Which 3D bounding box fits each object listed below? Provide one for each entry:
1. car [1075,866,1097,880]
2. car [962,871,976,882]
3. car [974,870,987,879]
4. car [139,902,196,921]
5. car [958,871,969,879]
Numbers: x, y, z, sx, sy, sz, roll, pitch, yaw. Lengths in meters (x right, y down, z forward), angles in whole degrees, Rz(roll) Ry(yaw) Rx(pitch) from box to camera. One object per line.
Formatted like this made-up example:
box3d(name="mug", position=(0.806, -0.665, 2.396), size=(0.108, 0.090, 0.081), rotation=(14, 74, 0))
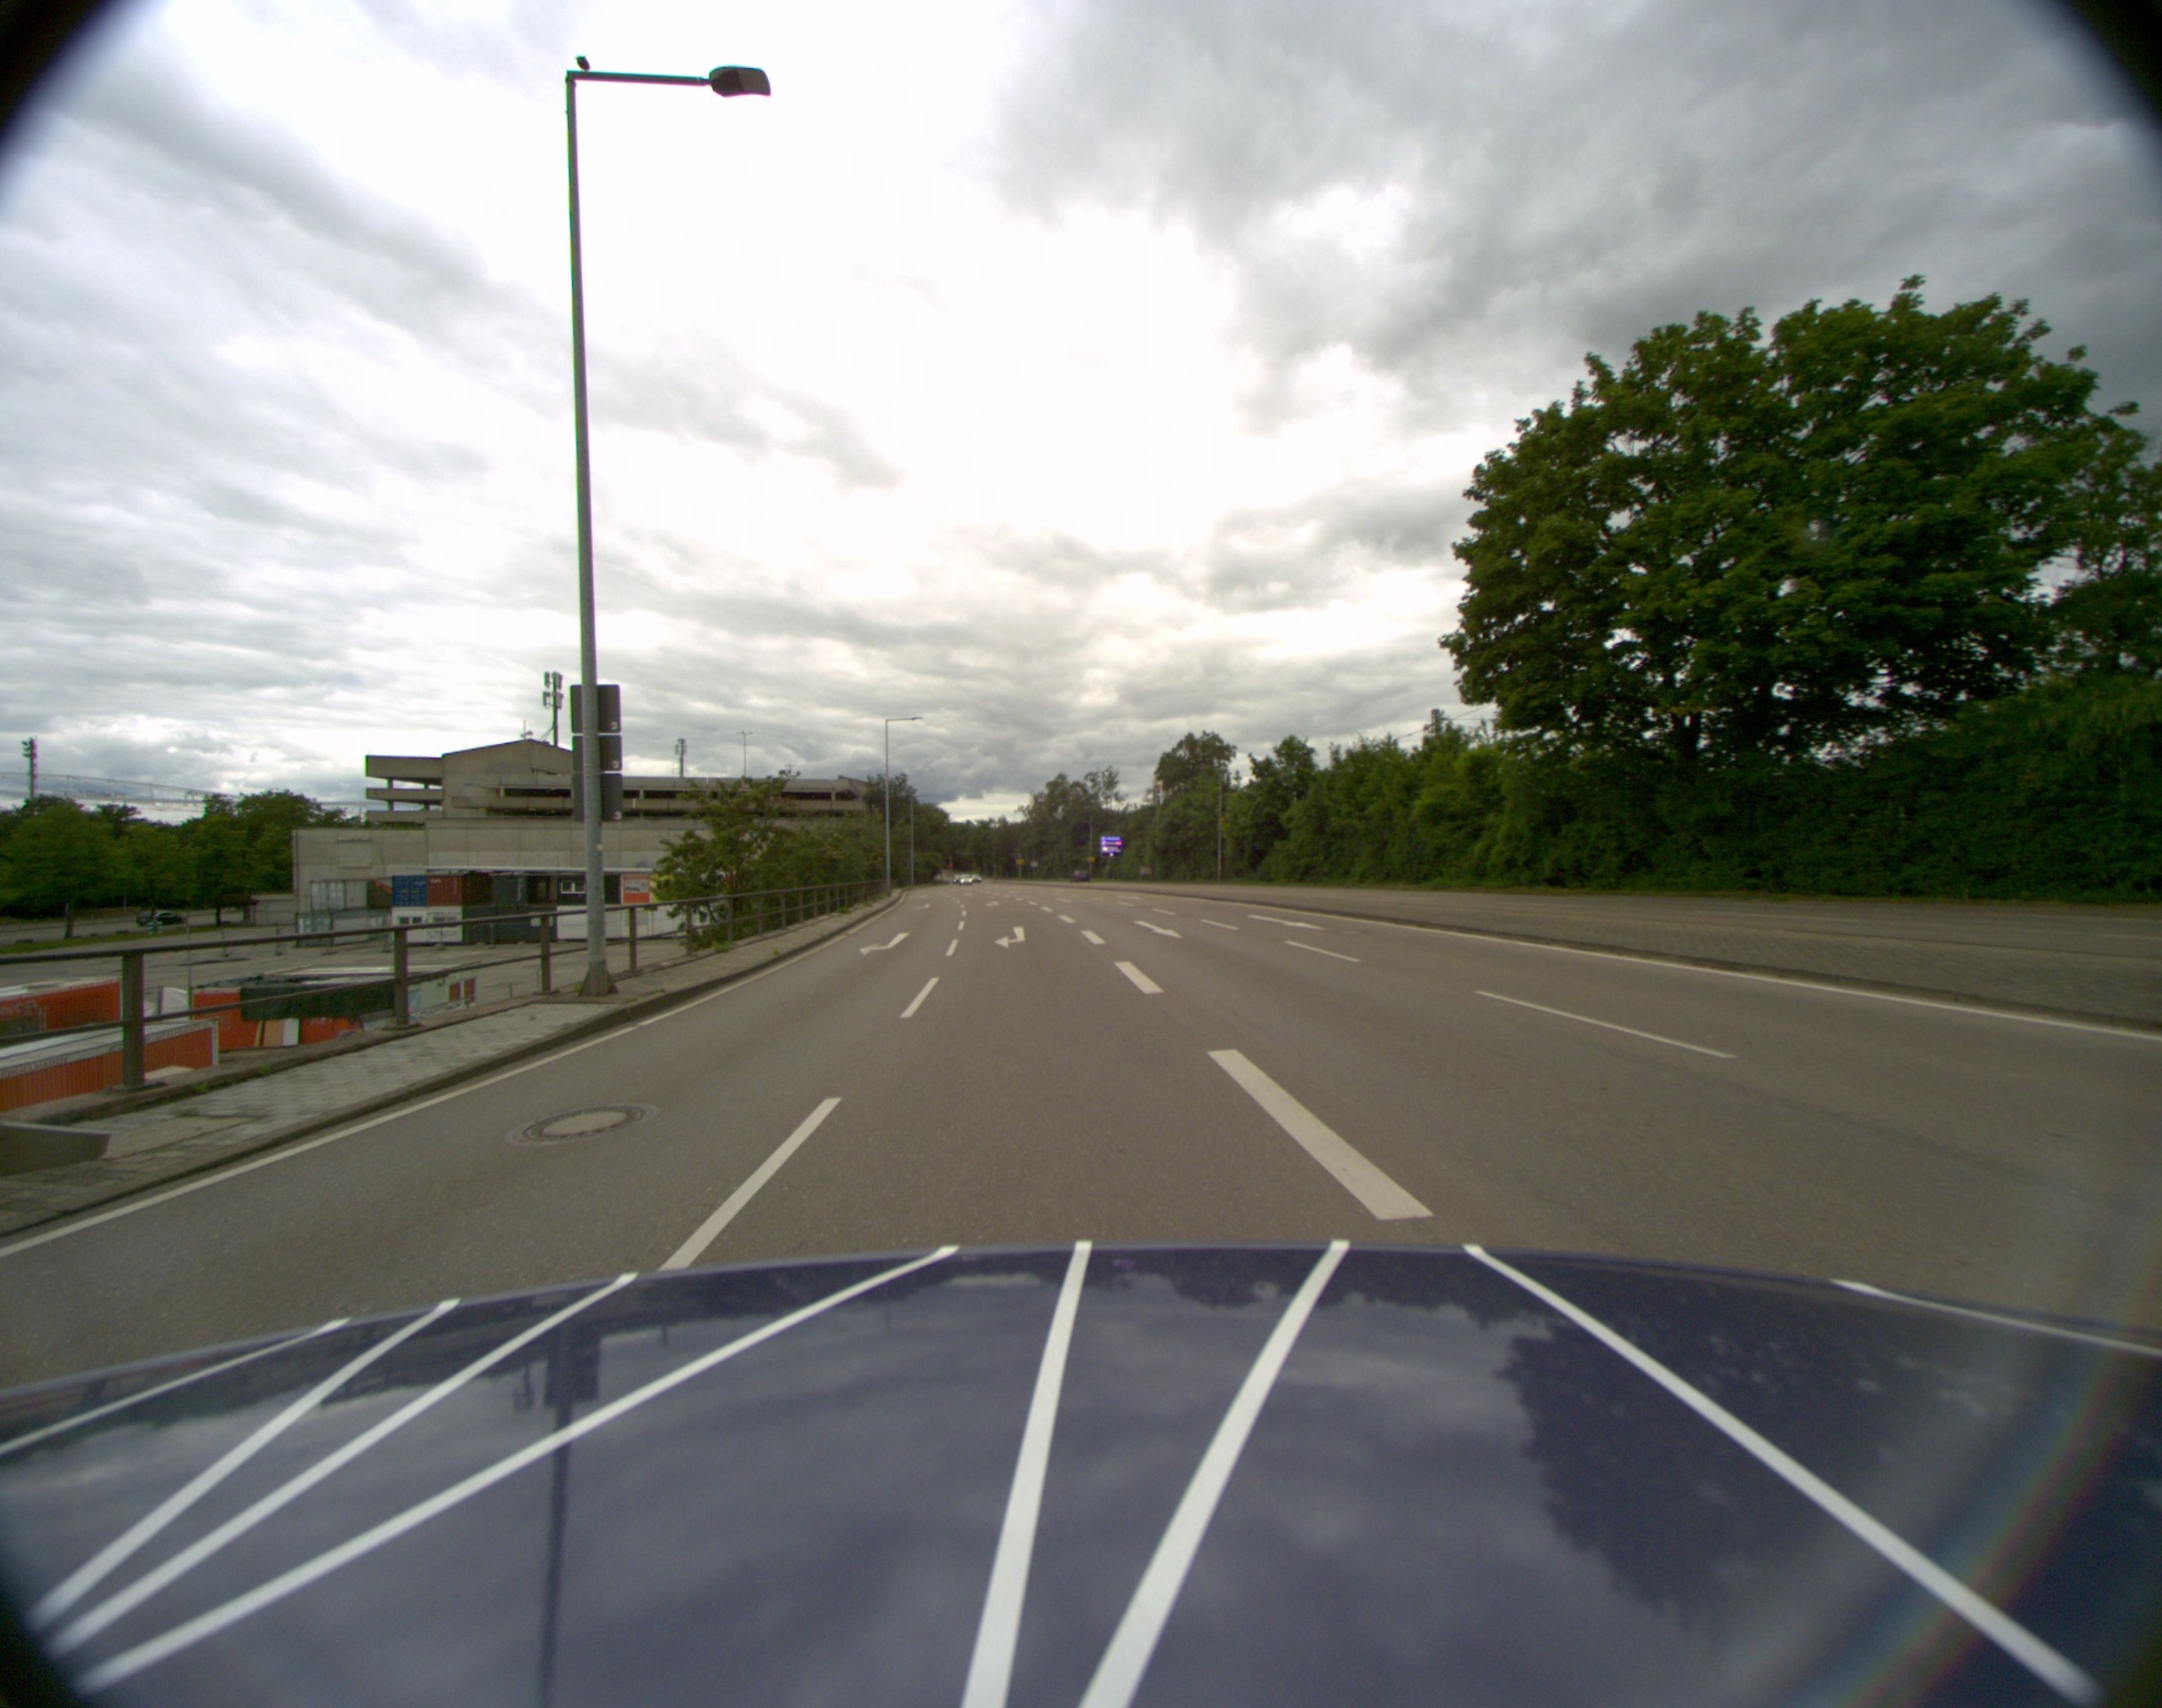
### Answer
box3d(name="car", position=(0.572, 2.142, 86.404), size=(1.704, 1.455, 3.997), rotation=(-3, 0, -11))
box3d(name="car", position=(-15.548, 3.156, 105.515), size=(1.611, 1.408, 3.588), rotation=(-2, -1, -12))
box3d(name="car", position=(-17.729, 3.634, 134.411), size=(1.844, 1.408, 4.576), rotation=(-2, -1, -13))
box3d(name="car", position=(-104.480, 6.566, 86.972), size=(2.000, 1.805, 3.996), rotation=(-5, 1, -12))
box3d(name="car", position=(-21.224, 3.756, 136.854), size=(1.866, 1.408, 4.336), rotation=(-2, -1, -8))
